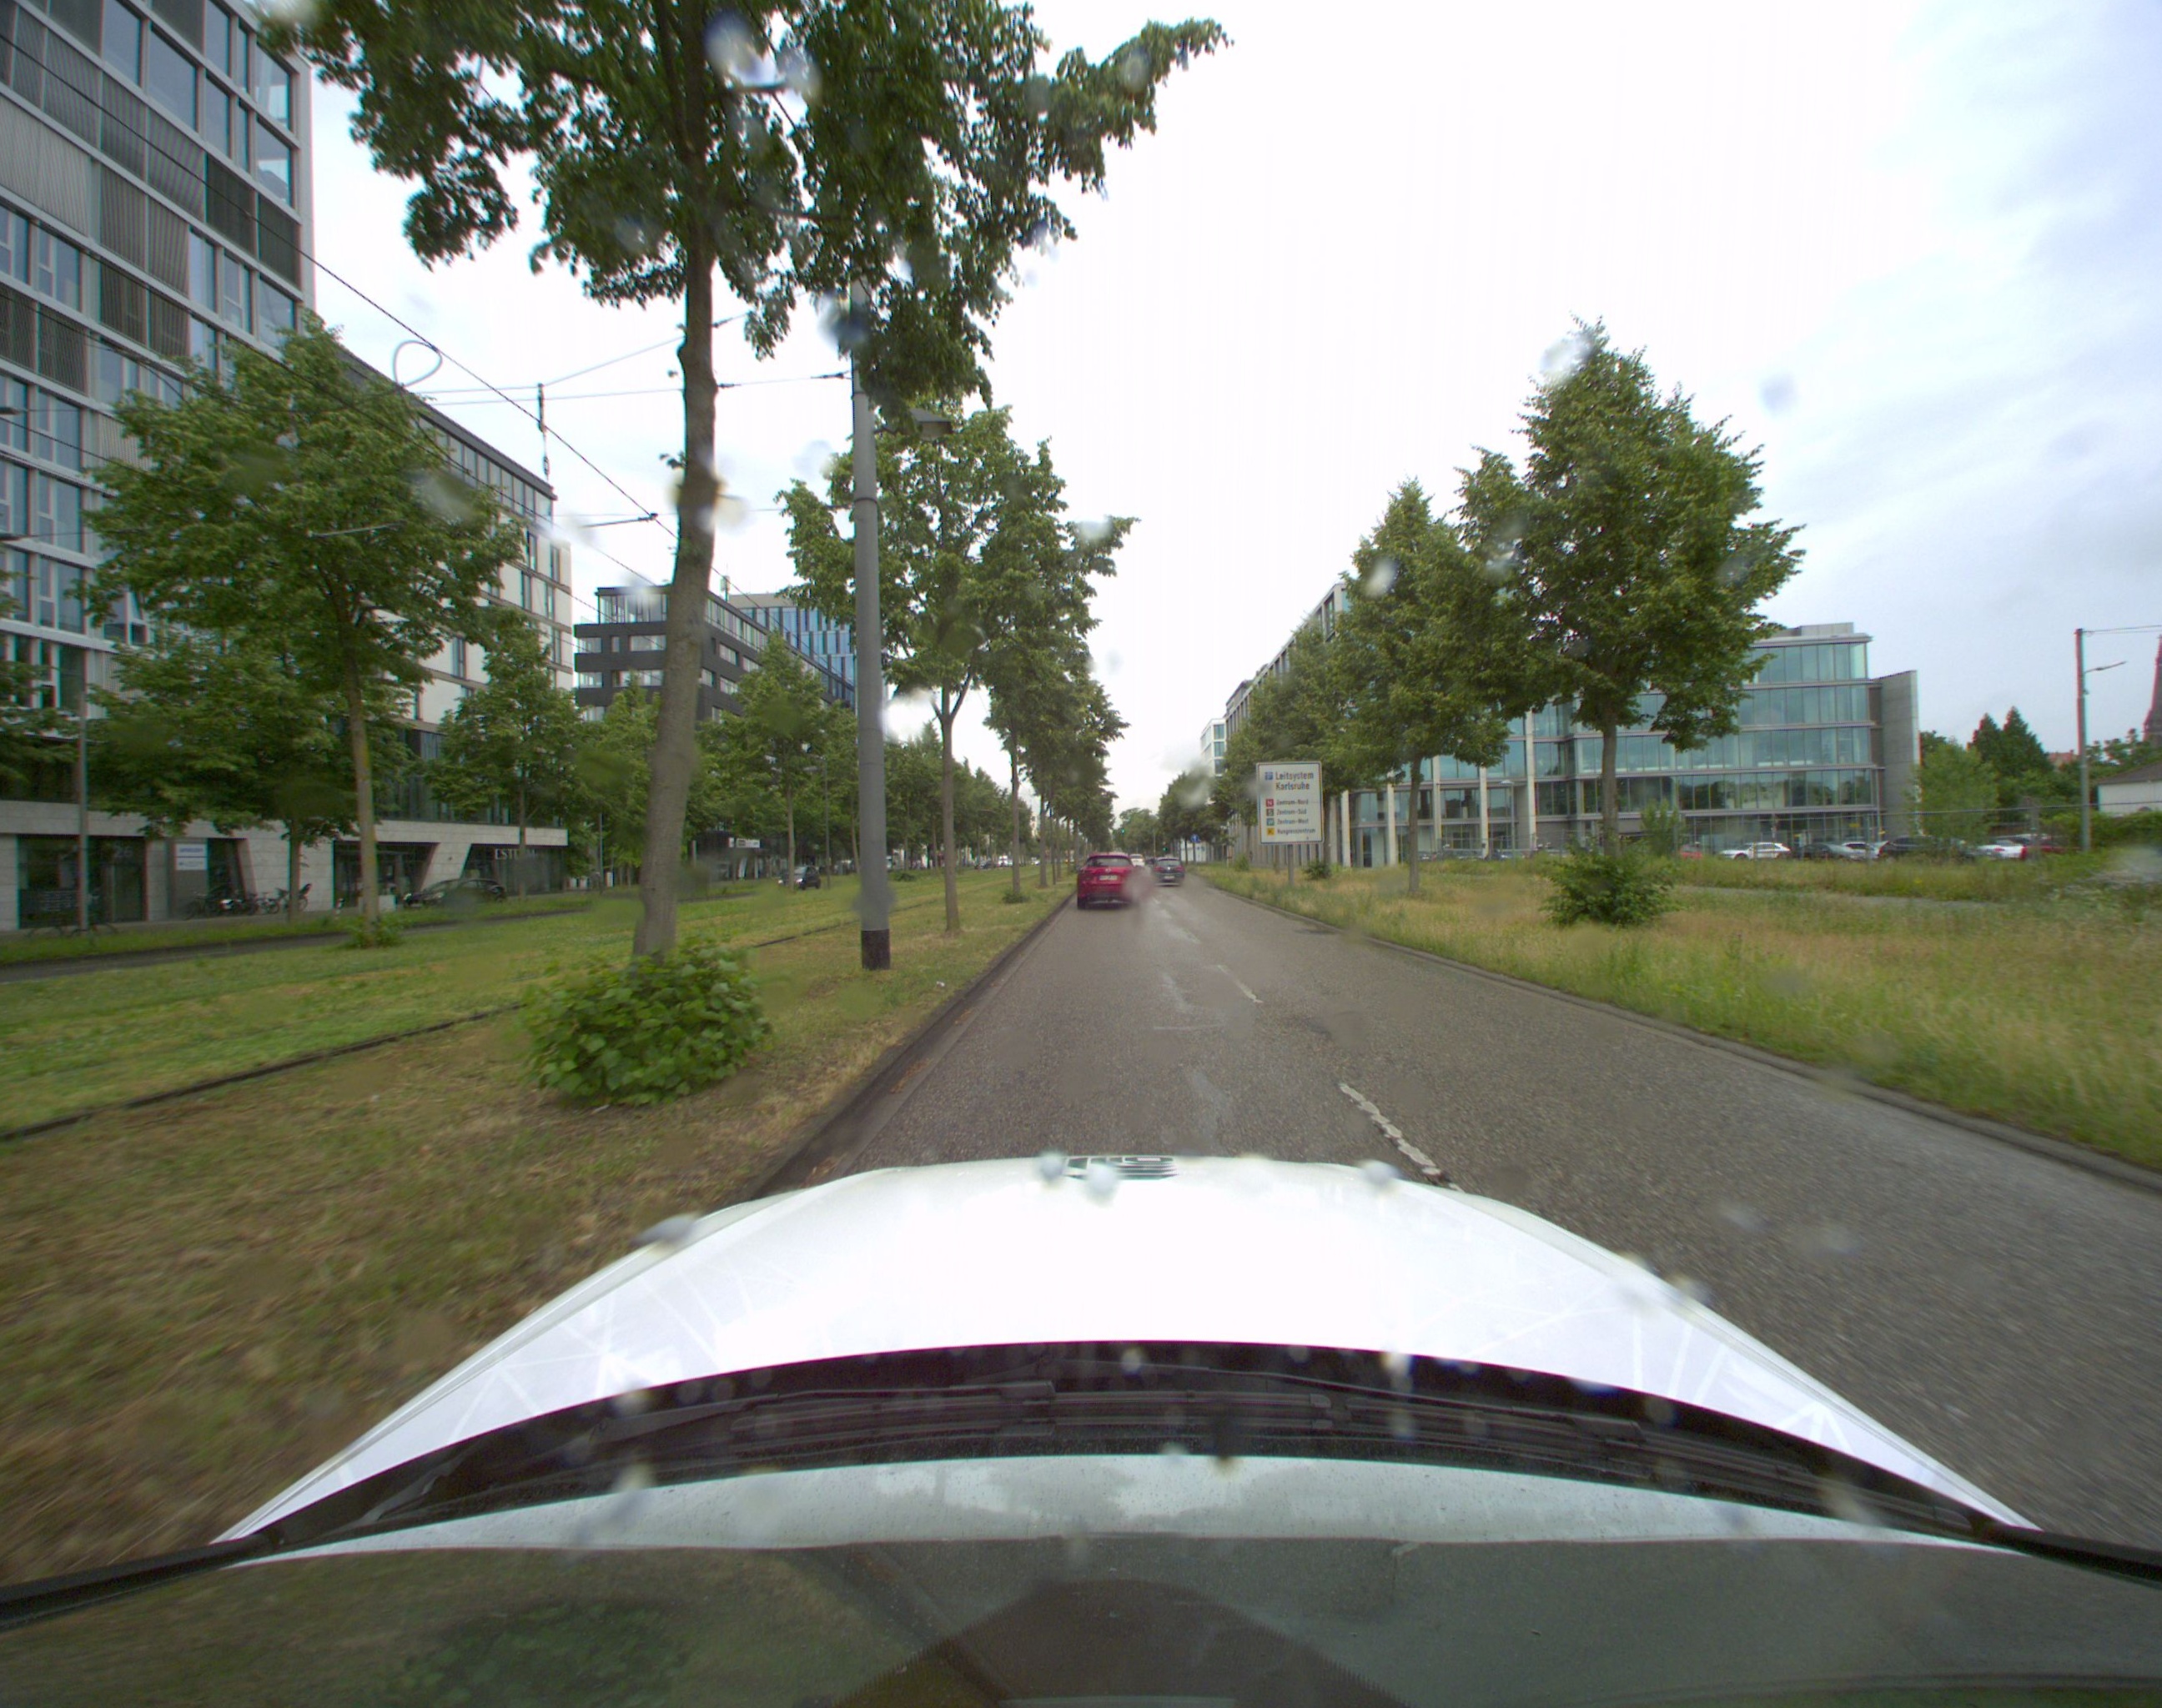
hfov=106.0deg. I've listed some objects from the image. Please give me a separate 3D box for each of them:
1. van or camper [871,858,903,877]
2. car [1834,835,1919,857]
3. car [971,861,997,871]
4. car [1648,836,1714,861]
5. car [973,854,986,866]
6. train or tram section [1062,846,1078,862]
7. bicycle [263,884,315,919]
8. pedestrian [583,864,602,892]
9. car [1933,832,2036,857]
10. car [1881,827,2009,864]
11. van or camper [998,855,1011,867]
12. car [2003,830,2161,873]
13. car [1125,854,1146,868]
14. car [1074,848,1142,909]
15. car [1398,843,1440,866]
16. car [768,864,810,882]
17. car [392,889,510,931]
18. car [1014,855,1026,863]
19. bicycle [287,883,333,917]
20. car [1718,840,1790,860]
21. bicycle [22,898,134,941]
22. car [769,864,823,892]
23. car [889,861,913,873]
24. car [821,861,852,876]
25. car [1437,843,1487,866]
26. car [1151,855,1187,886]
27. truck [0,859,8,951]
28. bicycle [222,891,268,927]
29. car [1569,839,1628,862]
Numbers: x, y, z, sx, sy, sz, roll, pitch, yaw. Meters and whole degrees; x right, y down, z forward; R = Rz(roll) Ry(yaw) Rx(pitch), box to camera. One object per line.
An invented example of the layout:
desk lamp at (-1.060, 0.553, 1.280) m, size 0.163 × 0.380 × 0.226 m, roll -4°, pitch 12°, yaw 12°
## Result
van or camper at (-24.512, 1.678, 103.376) m, size 2.424 × 2.315 × 5.853 m, roll -1°, pitch 0°, yaw 2°
car at (51.723, -0.478, 53.059) m, size 1.690 × 1.352 × 4.033 m, roll -1°, pitch 0°, yaw 1°
car at (-15.938, 1.899, 134.351) m, size 1.975 × 1.521 × 4.709 m, roll -1°, pitch 0°, yaw 28°
car at (40.327, -0.373, 54.831) m, size 1.845 × 1.601 × 4.008 m, roll -1°, pitch 0°, yaw 7°
car at (-22.097, 1.347, 176.976) m, size 2.250 × 2.561 × 4.651 m, roll -1°, pitch 0°, yaw -2°
train or tram section at (-2.582, -0.047, 198.565) m, size 3.117 × 3.659 × 13.412 m, roll -1°, pitch 0°, yaw 2°
bicycle at (-36.125, 2.150, 37.173) m, size 1.697 × 1.538 × 0.681 m, roll -1°, pitch 0°, yaw 0°
pedestrian at (-35.617, 1.755, 59.407) m, size 0.791 × 1.981 × 0.856 m, roll -1°, pitch 0°, yaw 2°
car at (52.224, -0.506, 47.186) m, size 1.688 × 1.352 × 4.038 m, roll -1°, pitch 0°, yaw 6°
car at (40.413, -0.385, 38.256) m, size 1.845 × 1.601 × 4.241 m, roll -1°, pitch 0°, yaw 7°
van or camper at (-15.726, 1.489, 167.902) m, size 1.902 × 2.410 × 5.405 m, roll -2°, pitch 0°, yaw 2°
car at (40.521, -0.103, 33.081) m, size 1.845 × 1.601 × 4.008 m, roll -1°, pitch 0°, yaw 7°
car at (5.775, 0.759, 86.171) m, size 1.960 × 1.437 × 4.553 m, roll 0°, pitch 0°, yaw 1°
car at (0.812, 0.702, 24.916) m, size 1.891 × 1.677 × 4.001 m, roll -1°, pitch 0°, yaw 1°
car at (23.849, 0.036, 57.567) m, size 1.844 × 1.581 × 4.010 m, roll -1°, pitch 0°, yaw 9°
car at (-25.245, 1.612, 70.574) m, size 1.986 × 1.378 × 4.002 m, roll -1°, pitch 0°, yaw 2°
car at (-26.797, 2.331, 34.833) m, size 1.848 × 1.465 × 3.990 m, roll -2°, pitch 0°, yaw 1°
car at (-11.997, 1.048, 161.129) m, size 1.855 × 1.524 × 4.481 m, roll -2°, pitch 0°, yaw 2°
bicycle at (-36.347, 2.154, 38.391) m, size 1.562 × 1.538 × 0.607 m, roll -1°, pitch 0°, yaw 0°
car at (52.492, -0.322, 63.593) m, size 3.966 × 1.438 × 1.865 m, roll -1°, pitch 1°, yaw 7°
bicycle at (-25.806, 1.666, 20.996) m, size 0.596 × 0.945 × 1.760 m, roll -2°, pitch 0°, yaw 6°
car at (-18.174, 1.490, 52.172) m, size 1.986 × 1.656 × 3.702 m, roll -2°, pitch 0°, yaw 2°
car at (-24.225, 1.705, 109.728) m, size 1.987 × 1.521 × 4.607 m, roll -1°, pitch 0°, yaw 1°
car at (-24.906, 1.445, 83.160) m, size 1.695 × 1.449 × 4.243 m, roll -1°, pitch 0°, yaw 2°
car at (26.588, 0.028, 56.947) m, size 1.845 × 1.455 × 4.566 m, roll -1°, pitch 0°, yaw 7°
car at (4.486, 0.828, 41.571) m, size 1.735 × 1.465 × 3.788 m, roll -1°, pitch 0°, yaw 6°
truck at (-28.283, 1.288, 17.314) m, size 2.417 × 2.291 × 6.311 m, roll -1°, pitch 0°, yaw 2°
bicycle at (-36.280, 2.372, 35.360) m, size 1.427 × 1.482 × 0.546 m, roll -1°, pitch 0°, yaw 0°
car at (35.286, -0.203, 55.660) m, size 1.776 × 1.475 × 4.239 m, roll -1°, pitch 0°, yaw 7°
